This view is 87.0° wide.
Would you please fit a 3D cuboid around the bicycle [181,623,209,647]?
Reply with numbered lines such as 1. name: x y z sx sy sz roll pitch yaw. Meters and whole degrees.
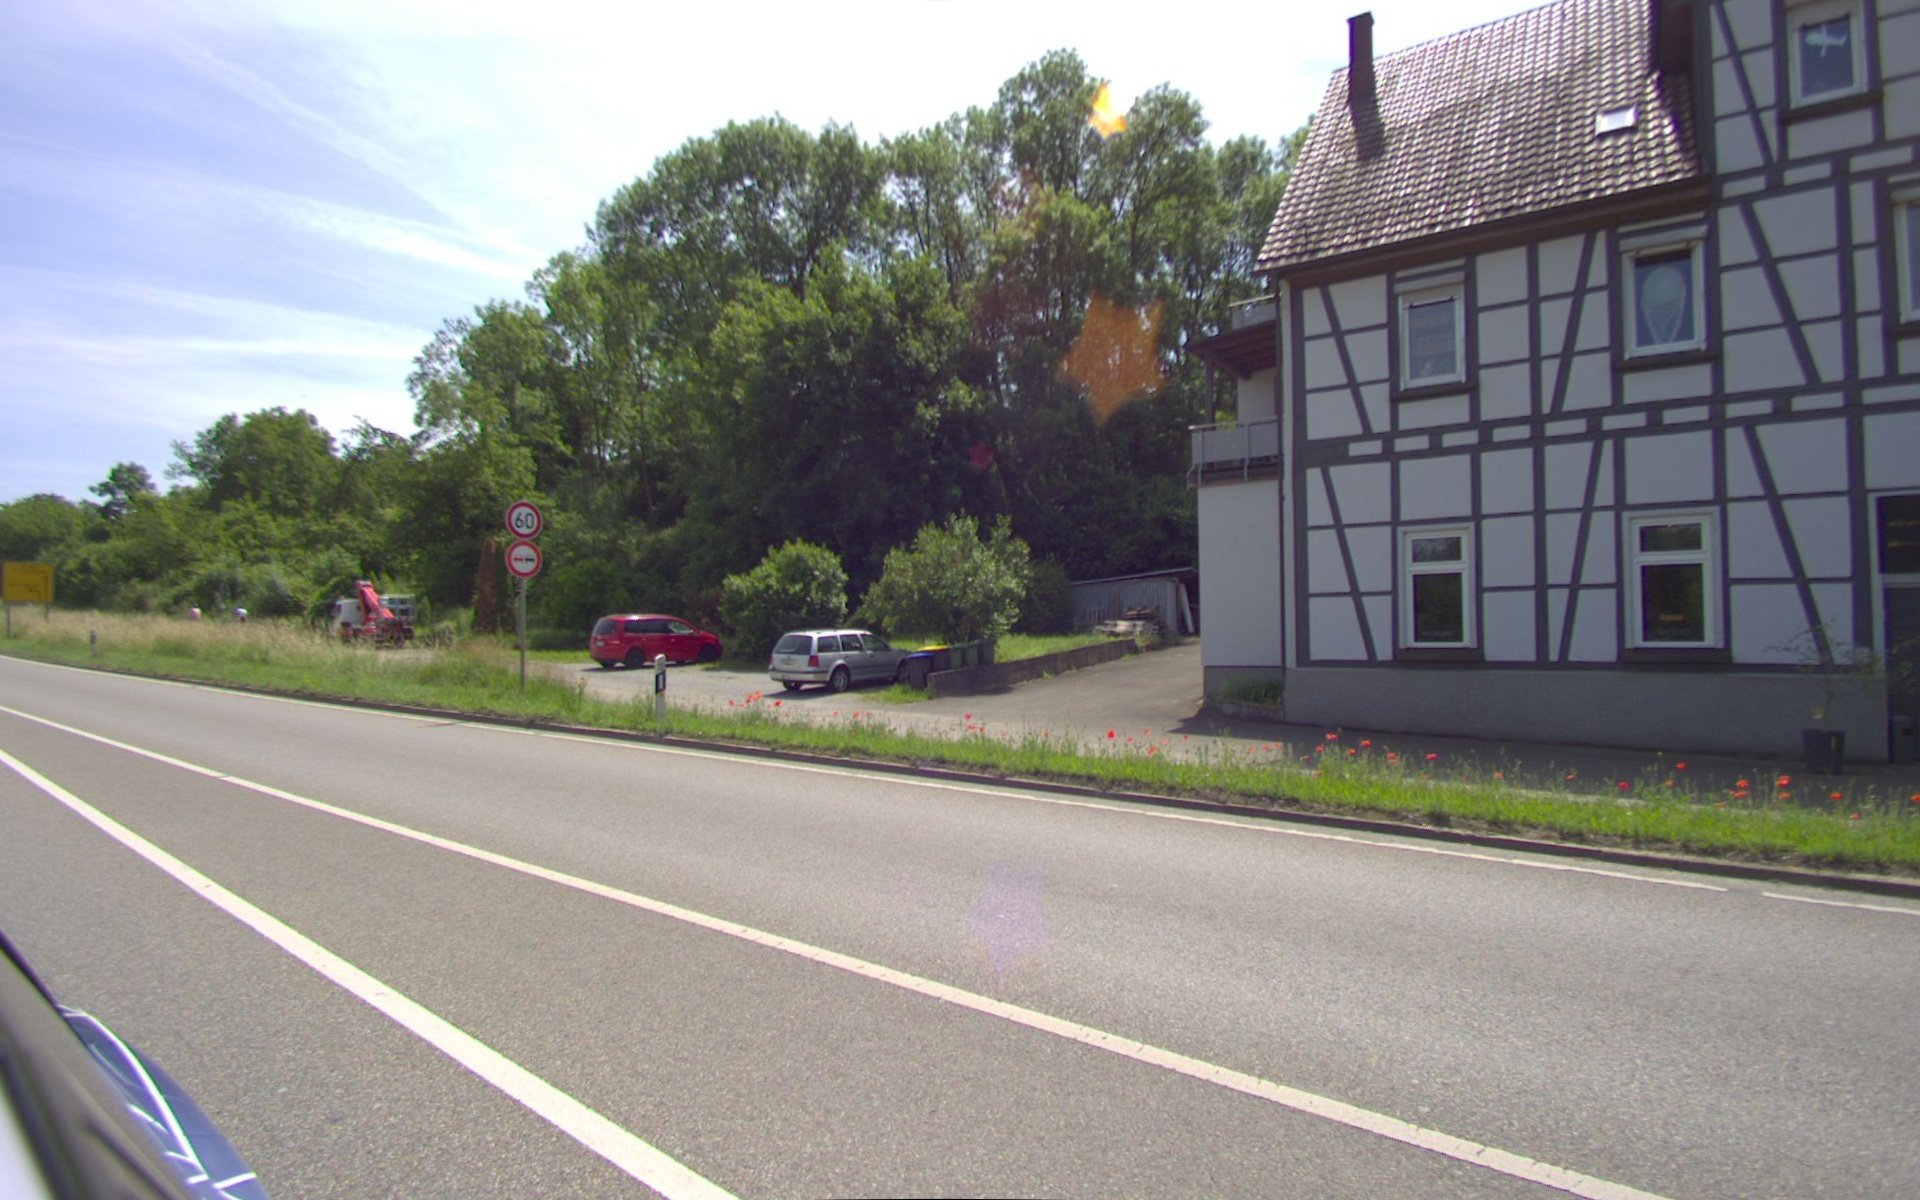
1. bicycle: -40.761 1.836 53.924 2.104 1.221 0.741 -1 0 41

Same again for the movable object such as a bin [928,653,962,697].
1. movable object such as a bin: -0.354 1.772 24.098 0.653 0.978 0.499 0 0 33

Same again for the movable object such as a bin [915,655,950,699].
1. movable object such as a bin: -0.631 1.787 23.595 0.653 0.977 0.499 0 0 33

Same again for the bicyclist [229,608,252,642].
1. bicyclist: -36.971 1.294 51.995 0.936 1.727 0.740 -1 0 43

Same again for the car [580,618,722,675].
1. car: -9.776 1.432 32.203 1.832 1.631 3.985 -1 0 41

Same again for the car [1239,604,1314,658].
1. car: 9.842 0.914 31.332 1.664 1.457 3.357 -1 1 27

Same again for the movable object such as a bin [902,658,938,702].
1. movable object such as a bin: -0.916 1.813 23.145 0.653 0.943 0.499 0 0 33

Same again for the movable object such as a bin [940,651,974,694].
1. movable object such as a bin: -0.072 1.745 24.552 0.653 0.984 0.499 0 0 33

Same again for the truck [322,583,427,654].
1. truck: -26.279 0.800 45.290 6.771 2.986 2.005 -1 0 42

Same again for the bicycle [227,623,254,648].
1. bicycle: -36.979 1.813 52.010 2.105 1.189 0.740 -1 0 43

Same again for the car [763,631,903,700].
1. car: -3.042 1.542 24.772 1.606 1.476 3.348 -1 0 34

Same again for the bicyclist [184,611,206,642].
1. bicyclist: -40.737 1.420 53.889 0.935 1.607 0.740 -1 0 41
